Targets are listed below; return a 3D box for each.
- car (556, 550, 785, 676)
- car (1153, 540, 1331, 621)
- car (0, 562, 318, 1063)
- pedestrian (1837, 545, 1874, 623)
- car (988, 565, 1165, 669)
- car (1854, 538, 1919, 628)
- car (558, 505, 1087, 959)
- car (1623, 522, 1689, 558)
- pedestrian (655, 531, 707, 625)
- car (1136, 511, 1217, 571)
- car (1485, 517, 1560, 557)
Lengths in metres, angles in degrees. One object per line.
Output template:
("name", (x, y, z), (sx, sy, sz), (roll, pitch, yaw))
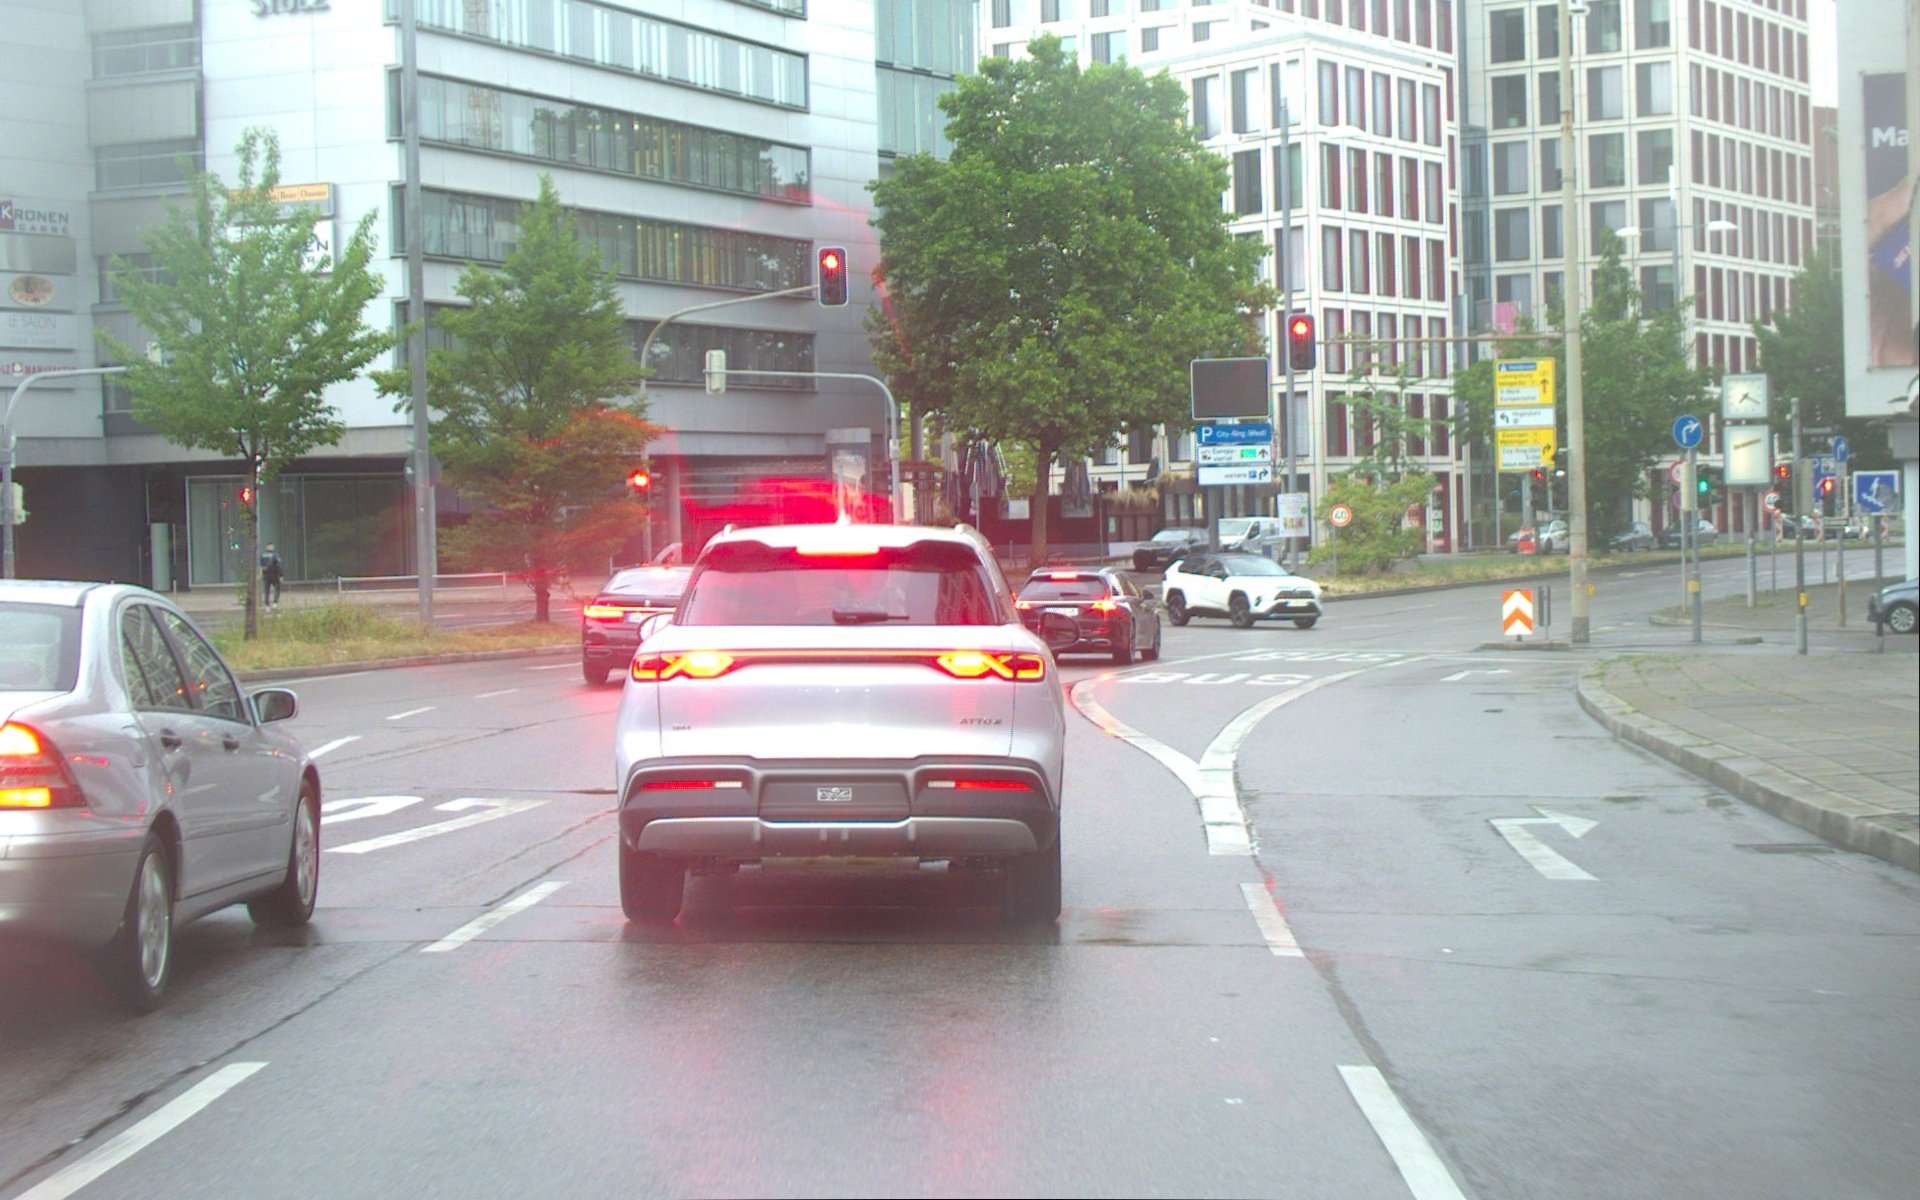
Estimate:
("car", (-3.610, 0.133, 43.562), (1.956, 1.525, 3.998), (0, 1, 10))
("car", (6.238, -0.458, 76.576), (1.993, 1.744, 4.532), (-1, 1, -25))
("car", (-3.516, 0.619, 12.351), (1.682, 1.481, 4.197), (-1, 1, -1))
("pedestrian", (19.102, -0.343, 73.323), (0.728, 1.663, 0.690), (0, 0, 18))
("car", (1.826, 0.231, 52.594), (1.956, 1.525, 3.998), (0, 1, 13))
("car", (20.300, -0.327, 68.893), (4.347, 1.759, 2.051), (1, 1, 23))
("car", (-0.570, 0.470, 15.311), (1.993, 1.703, 4.483), (-1, 1, -1))
("car", (35.157, -3.048, 173.592), (1.997, 1.700, 4.302), (1, 3, 29))
("pedestrian", (-5.231, -0.416, 64.541), (0.922, 1.732, 0.730), (-1, 1, -2))
("car", (8.011, -2.151, 126.931), (1.739, 2.154, 4.489), (1, 1, 20))
("car", (25.407, -2.871, 155.258), (1.997, 1.700, 4.302), (1, 3, 29))
